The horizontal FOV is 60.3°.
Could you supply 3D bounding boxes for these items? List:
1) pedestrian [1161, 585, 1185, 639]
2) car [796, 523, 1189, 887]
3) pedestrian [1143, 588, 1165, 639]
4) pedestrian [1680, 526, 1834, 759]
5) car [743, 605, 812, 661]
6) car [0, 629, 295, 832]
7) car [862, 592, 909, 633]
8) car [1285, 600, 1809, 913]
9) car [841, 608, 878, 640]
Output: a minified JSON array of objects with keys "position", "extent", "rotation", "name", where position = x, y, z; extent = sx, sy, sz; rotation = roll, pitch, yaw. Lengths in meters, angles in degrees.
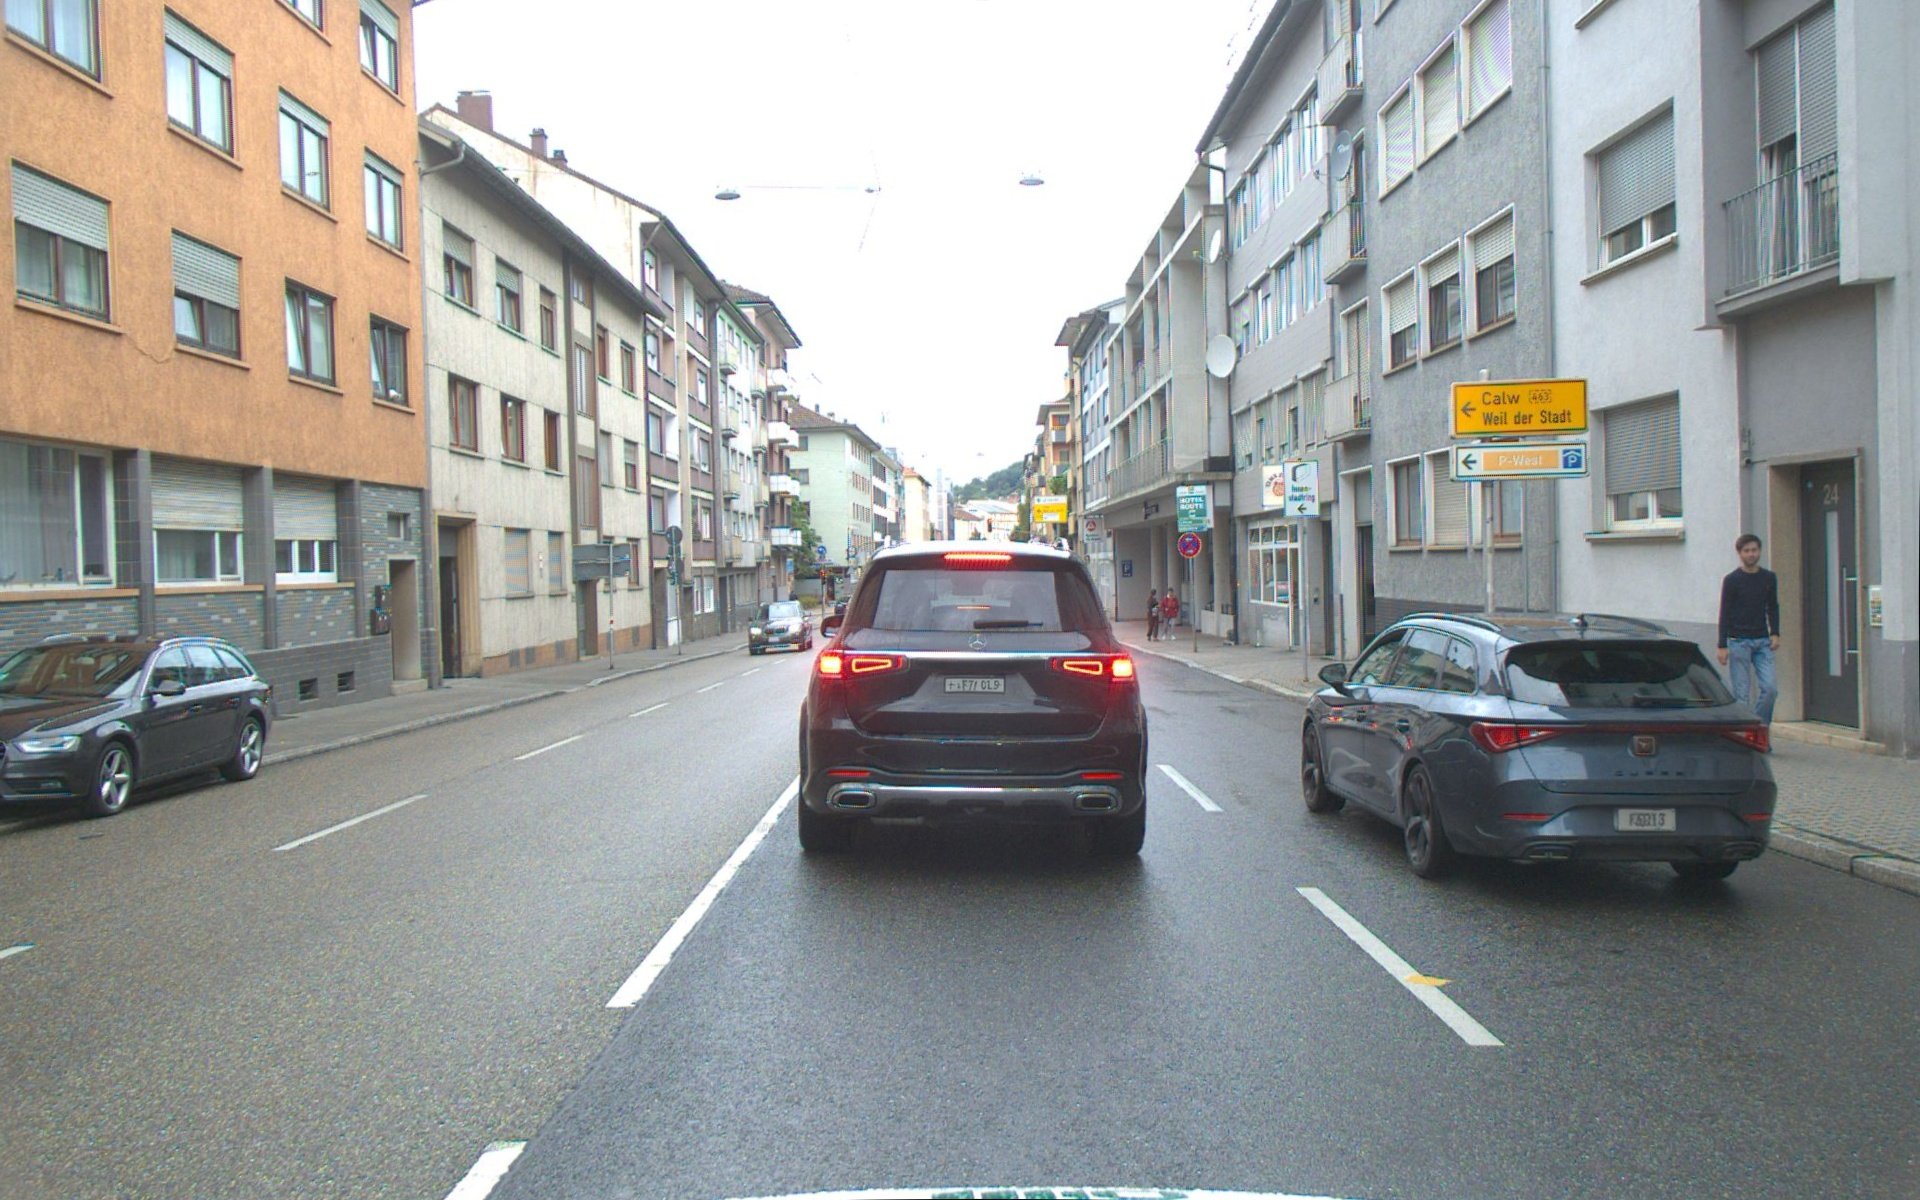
[{"position":[6.475,0.367,50.287],"extent":[0.549,1.606,0.526],"rotation":[-4,0,-3],"name":"pedestrian"},{"position":[0.134,0.532,10.506],"extent":[1.984,1.837,3.999],"rotation":[1,0,-1],"name":"car"},{"position":[5.898,0.403,50.234],"extent":[0.496,1.526,0.562],"rotation":[-4,0,-3],"name":"pedestrian"},{"position":[6.537,0.332,13.617],"extent":[0.630,1.808,1.056],"rotation":[-4,0,-1],"name":"pedestrian"},{"position":[-5.620,0.997,51.397],"extent":[1.668,1.533,4.158],"rotation":[-4,0,-1],"name":"car"},{"position":[-7.944,1.072,15.351],"extent":[1.759,1.463,4.526],"rotation":[1,0,-1],"name":"car"},{"position":[-3.464,0.571,77.712],"extent":[1.798,1.757,4.475],"rotation":[-4,0,1],"name":"car"},{"position":[3.258,0.758,10.132],"extent":[1.588,1.455,4.311],"rotation":[1,0,-1],"name":"car"},{"position":[-5.604,1.318,92.960],"extent":[1.761,1.612,4.315],"rotation":[-3,0,0],"name":"car"}]
